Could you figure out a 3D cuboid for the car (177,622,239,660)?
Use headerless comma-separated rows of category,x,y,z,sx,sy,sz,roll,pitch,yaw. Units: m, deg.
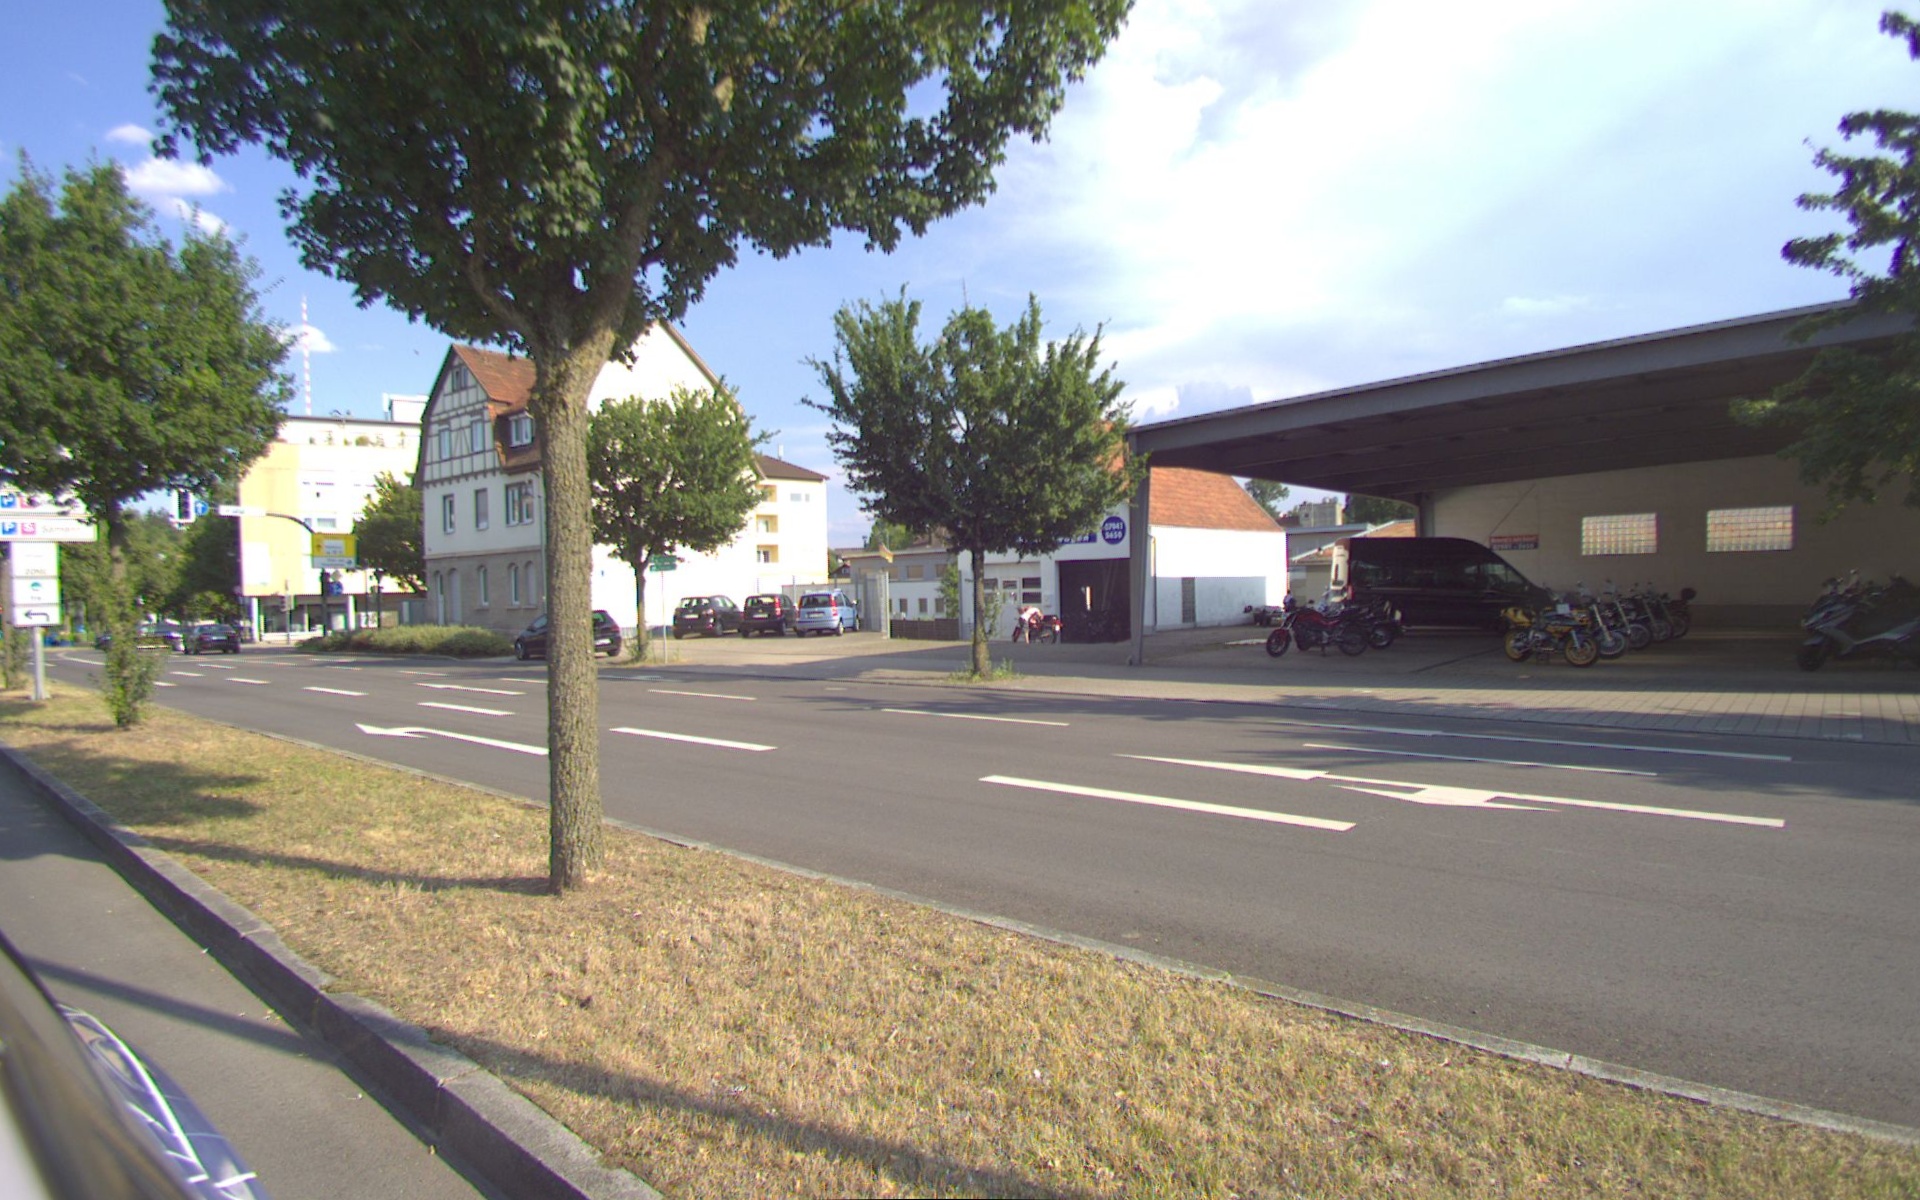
car,-35.890,1.909,48.279,4.002,1.706,1.757,-1,0,45

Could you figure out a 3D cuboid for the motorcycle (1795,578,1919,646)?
motorcycle,19.039,0.253,21.293,2.103,1.306,0.628,-3,-1,17

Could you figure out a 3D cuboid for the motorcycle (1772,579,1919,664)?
motorcycle,14.918,0.360,16.779,2.103,1.306,0.628,-3,-1,17

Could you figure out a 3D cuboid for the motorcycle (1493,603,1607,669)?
motorcycle,10.536,0.618,18.155,0.621,1.095,2.038,-1,0,-7

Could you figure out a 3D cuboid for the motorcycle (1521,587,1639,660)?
motorcycle,12.164,0.436,19.959,0.621,1.347,2.269,-1,0,-9

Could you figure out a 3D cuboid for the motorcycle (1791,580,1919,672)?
motorcycle,13.866,0.374,15.119,2.103,1.306,0.628,-3,-1,17

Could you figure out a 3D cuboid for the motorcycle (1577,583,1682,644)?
motorcycle,15.542,0.300,23.582,0.621,1.347,2.269,-1,0,-9

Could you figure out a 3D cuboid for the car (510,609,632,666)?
car,-11.595,1.083,30.079,3.823,1.462,1.795,-1,2,42

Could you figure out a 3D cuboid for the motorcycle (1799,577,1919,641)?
motorcycle,20.233,0.204,22.648,2.103,1.306,0.628,-3,-1,17

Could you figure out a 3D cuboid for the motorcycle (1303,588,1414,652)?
motorcycle,8.961,0.449,22.807,2.198,1.372,0.630,-1,0,5

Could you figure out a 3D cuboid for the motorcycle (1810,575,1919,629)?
motorcycle,23.739,0.068,26.525,2.103,1.306,0.628,-3,-1,17

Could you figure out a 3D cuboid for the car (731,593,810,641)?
car,-6.917,0.586,37.310,1.797,1.512,3.819,-3,2,5

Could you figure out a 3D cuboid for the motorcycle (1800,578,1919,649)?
motorcycle,18.050,0.267,19.992,2.103,1.306,0.628,-3,-1,17

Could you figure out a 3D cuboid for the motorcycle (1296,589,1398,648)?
motorcycle,9.384,0.451,24.611,2.198,1.372,0.630,-1,0,5

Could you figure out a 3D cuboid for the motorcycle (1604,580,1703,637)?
motorcycle,17.296,0.217,25.307,0.621,1.347,2.269,-1,0,-9

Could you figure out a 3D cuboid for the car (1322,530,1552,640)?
car,12.870,-0.380,27.631,5.221,2.773,1.996,-1,0,7

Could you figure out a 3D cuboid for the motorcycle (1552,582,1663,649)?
motorcycle,13.869,0.322,21.772,0.621,1.347,2.269,-1,0,-9

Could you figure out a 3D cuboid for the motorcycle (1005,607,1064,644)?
motorcycle,2.439,0.838,33.213,1.974,1.194,0.577,-1,0,41

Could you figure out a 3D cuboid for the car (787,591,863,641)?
car,-4.678,0.520,35.680,1.797,1.512,3.819,-3,2,5

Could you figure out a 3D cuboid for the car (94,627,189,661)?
car,-45.468,2.400,56.264,1.788,1.687,3.942,-1,0,45

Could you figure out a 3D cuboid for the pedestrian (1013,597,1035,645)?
pedestrian,2.077,0.675,32.767,0.485,1.530,0.496,-1,0,41

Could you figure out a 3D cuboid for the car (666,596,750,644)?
car,-9.318,0.691,37.702,1.797,1.512,3.819,-3,2,5

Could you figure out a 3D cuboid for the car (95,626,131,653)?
car,-57.680,2.648,68.949,1.754,1.706,4.008,-1,0,-39

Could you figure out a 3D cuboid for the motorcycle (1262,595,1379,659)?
motorcycle,7.502,0.561,21.163,2.202,1.290,0.629,-1,0,11

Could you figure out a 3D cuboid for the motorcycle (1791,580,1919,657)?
motorcycle,16.536,0.338,18.351,2.103,1.306,0.628,-3,-1,17
